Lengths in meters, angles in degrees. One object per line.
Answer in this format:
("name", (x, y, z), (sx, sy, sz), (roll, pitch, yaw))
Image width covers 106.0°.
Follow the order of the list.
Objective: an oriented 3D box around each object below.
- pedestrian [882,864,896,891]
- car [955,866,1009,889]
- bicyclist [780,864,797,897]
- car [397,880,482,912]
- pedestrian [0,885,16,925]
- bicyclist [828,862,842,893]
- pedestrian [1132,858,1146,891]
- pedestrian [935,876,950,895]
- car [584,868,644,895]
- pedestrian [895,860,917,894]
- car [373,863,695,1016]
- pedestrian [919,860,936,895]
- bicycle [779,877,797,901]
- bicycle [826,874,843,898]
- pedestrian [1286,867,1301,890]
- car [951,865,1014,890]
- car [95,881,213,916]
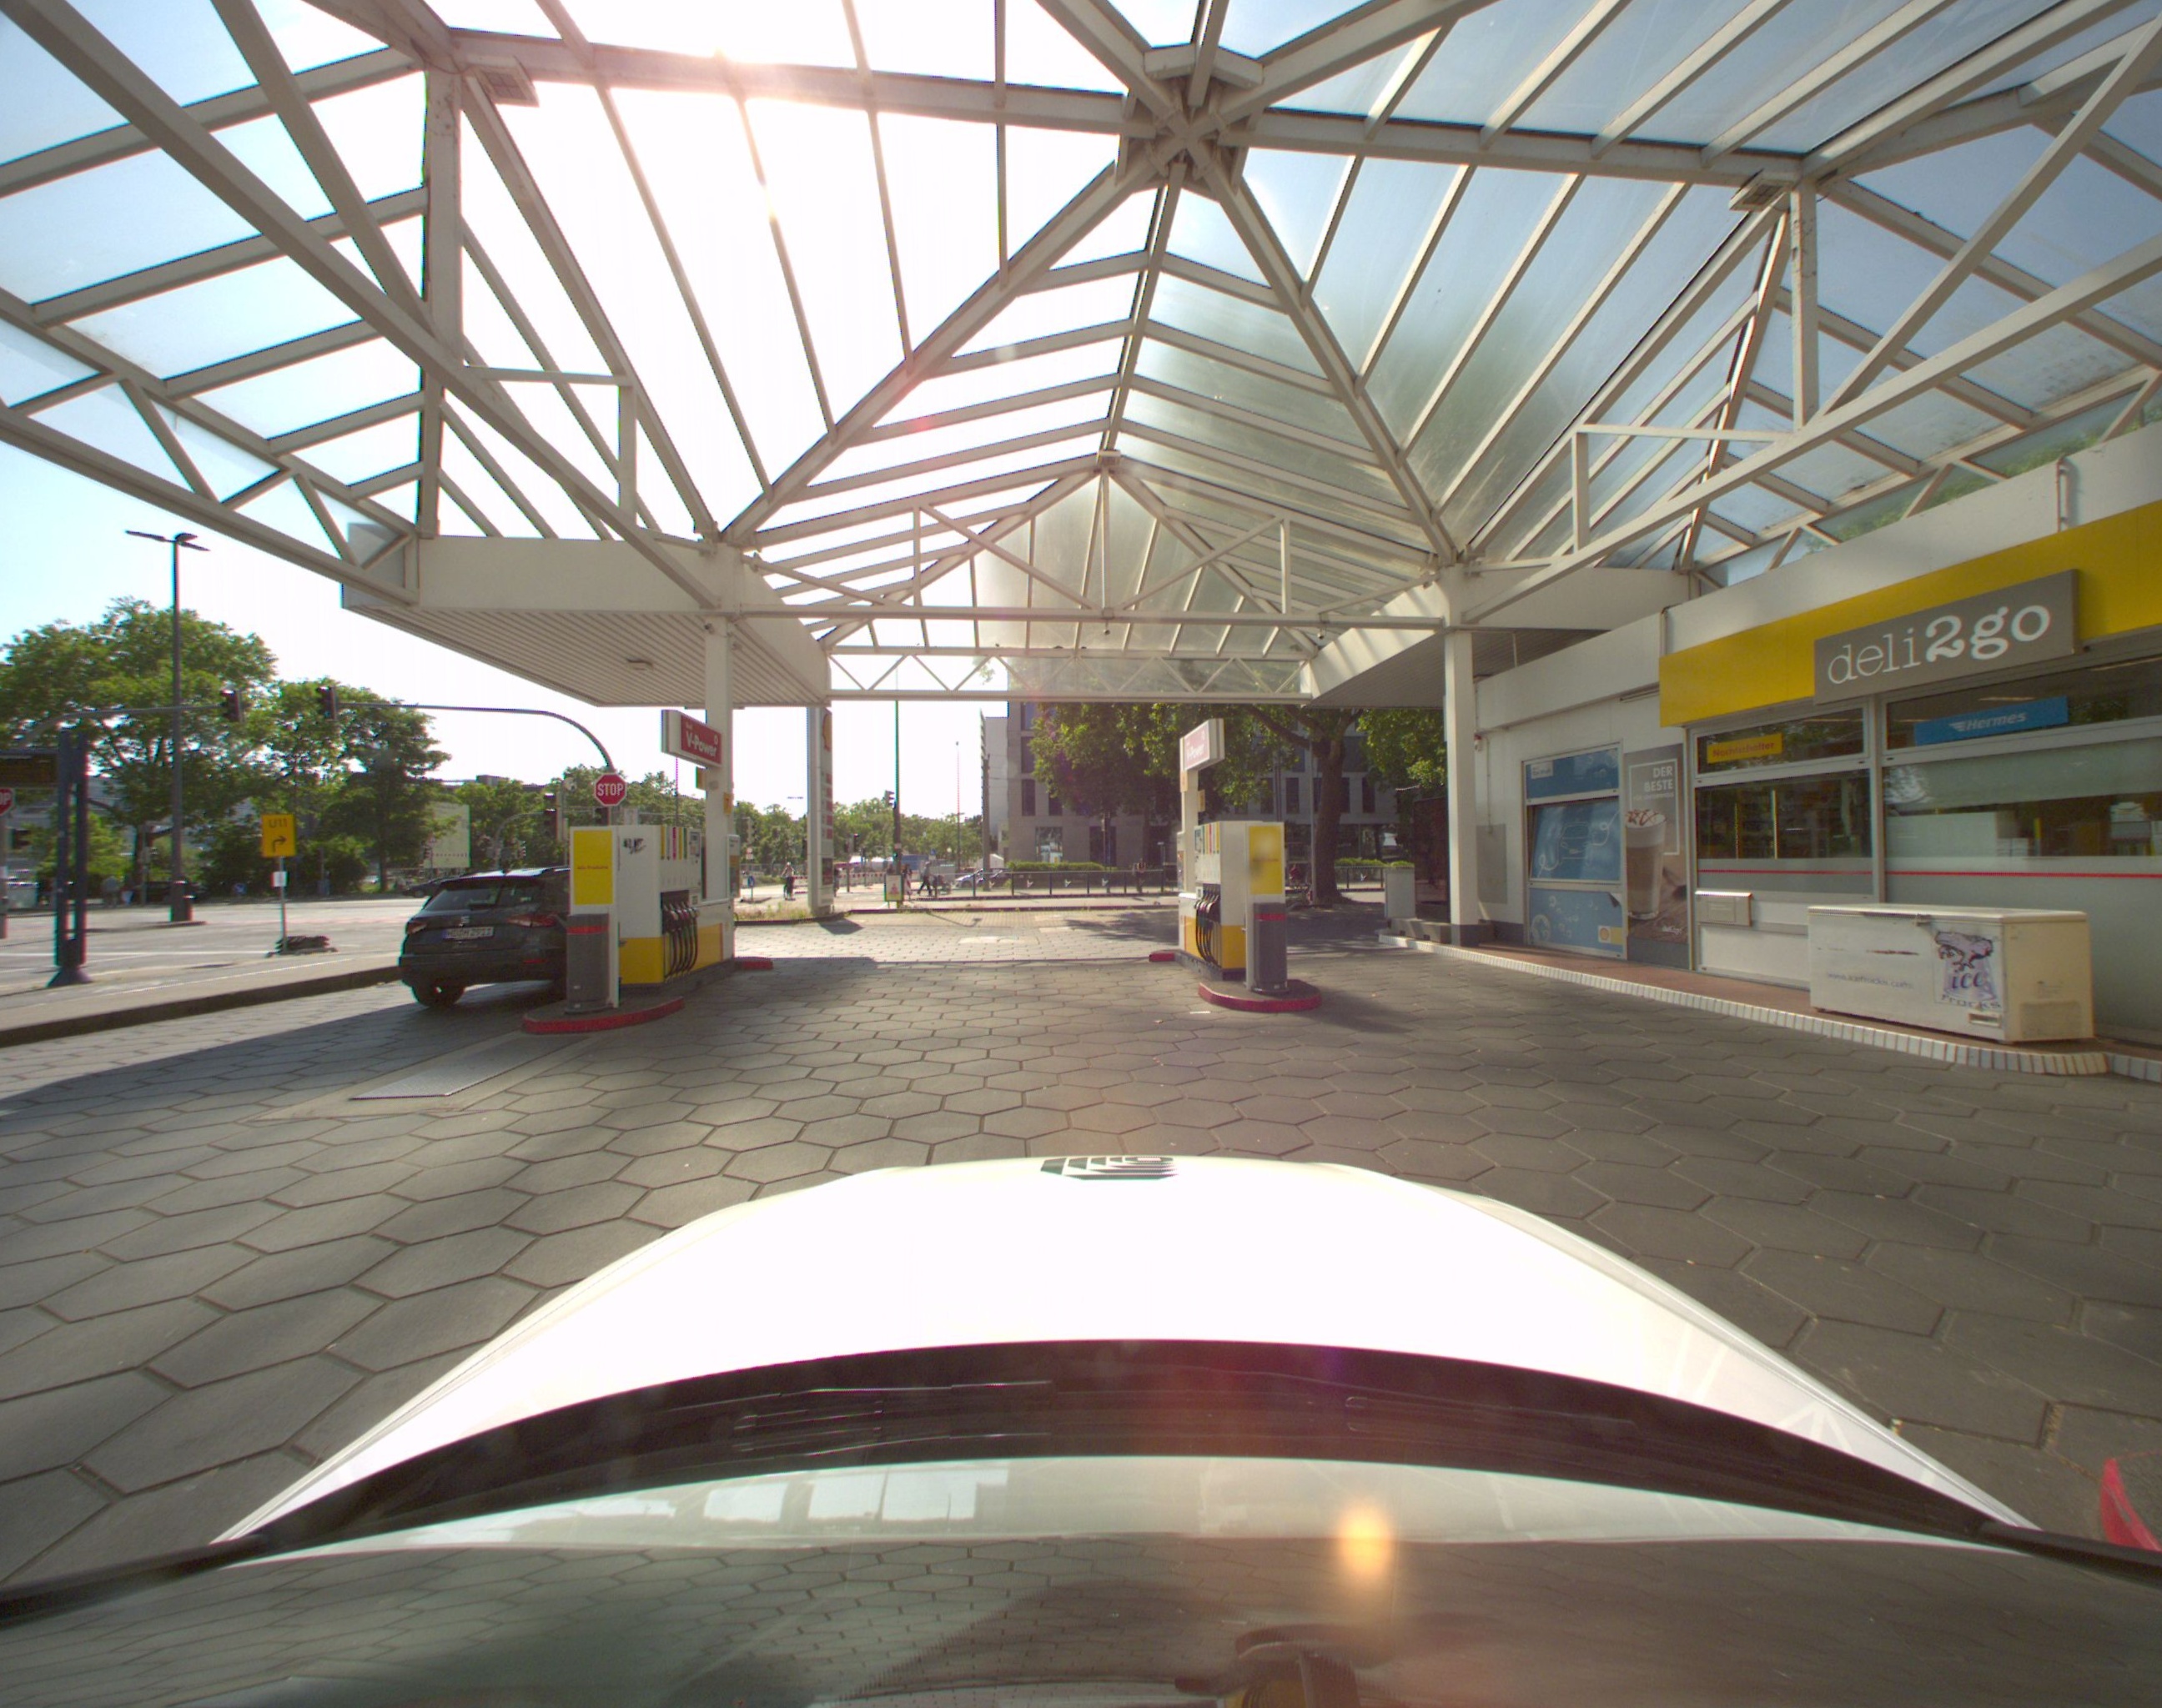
("pedestrian", (-11.271, 1.363, 47.768), (0.647, 1.540, 0.503), (-1, -1, 3))
("car", (-7.085, 1.668, 58.095), (3.683, 1.552, 1.586), (-1, -1, -11))
("bicyclist", (-14.319, 1.286, 39.868), (0.639, 1.580, 1.167), (0, -1, -15))
("car", (-42.219, 2.763, 53.653), (4.234, 1.805, 1.976), (-2, -1, -42))
("pedestrian", (-47.728, 2.247, 35.803), (0.686, 1.723, 0.865), (-2, -1, -16))
("bicyclist", (-12.376, 1.159, 40.974), (0.536, 1.544, 0.858), (0, -2, -27))
("pedestrian", (2.790, 0.988, 39.281), (0.583, 1.591, 0.669), (-1, 1, -6))
("pedestrian", (-6.768, 1.547, 39.874), (0.690, 0.880, 0.501), (-1, -1, -8))
("car", (-38.045, 2.182, 66.519), (1.984, 2.014, 4.453), (-3, -1, 5))
("pedestrian", (-8.844, 1.173, 41.194), (0.928, 1.683, 0.503), (-1, -1, 4))
("car", (-6.710, 0.939, 10.596), (1.741, 1.532, 3.992), (-2, -1, -6))
("pedestrian", (-7.504, 1.159, 39.755), (0.776, 1.683, 0.501), (-1, -1, -8))
("bicycle", (-14.297, 1.690, 39.790), (0.639, 1.082, 2.016), (-1, -1, -14))
("bicycle", (-12.402, 1.608, 40.970), (0.526, 1.082, 1.851), (0, 1, -26))
("pedestrian", (10.535, 1.207, 40.364), (0.626, 1.138, 0.524), (-1, -1, 1))
("car", (-6.534, 1.559, 53.835), (3.988, 1.552, 1.697), (-1, -1, -11))
("car", (-55.865, 2.665, 49.189), (4.217, 1.805, 1.984), (-3, -1, -24))
